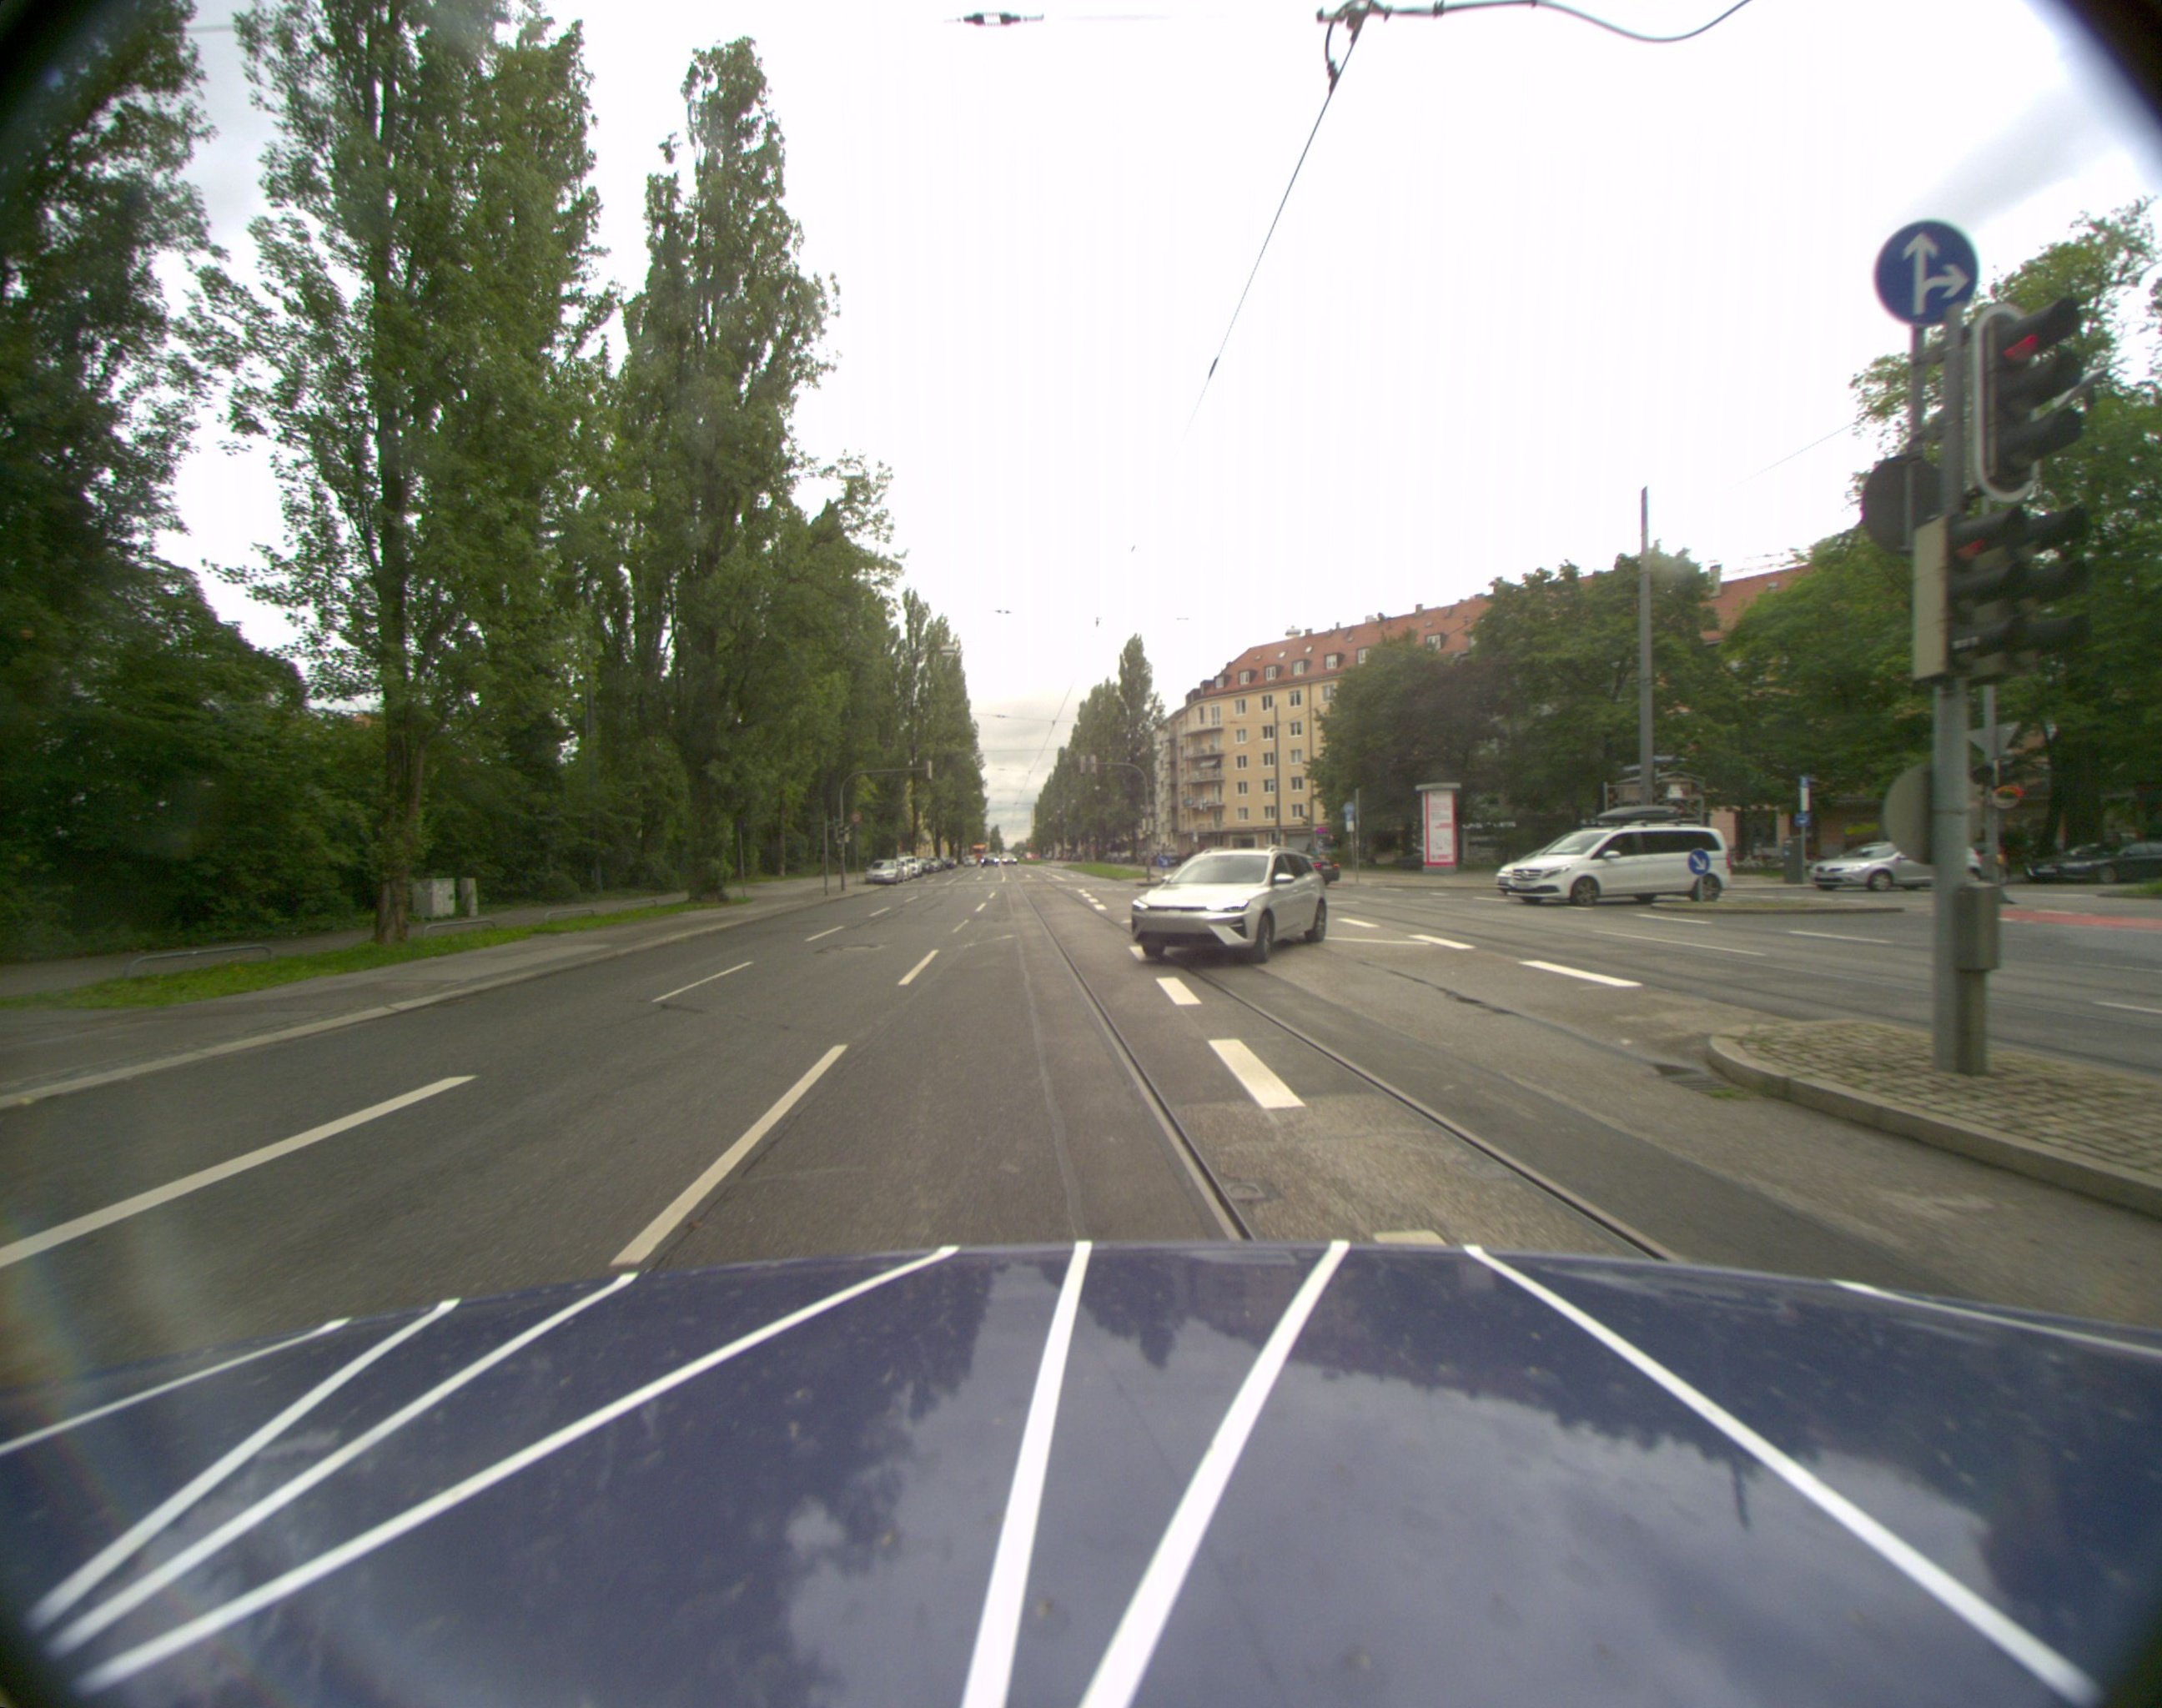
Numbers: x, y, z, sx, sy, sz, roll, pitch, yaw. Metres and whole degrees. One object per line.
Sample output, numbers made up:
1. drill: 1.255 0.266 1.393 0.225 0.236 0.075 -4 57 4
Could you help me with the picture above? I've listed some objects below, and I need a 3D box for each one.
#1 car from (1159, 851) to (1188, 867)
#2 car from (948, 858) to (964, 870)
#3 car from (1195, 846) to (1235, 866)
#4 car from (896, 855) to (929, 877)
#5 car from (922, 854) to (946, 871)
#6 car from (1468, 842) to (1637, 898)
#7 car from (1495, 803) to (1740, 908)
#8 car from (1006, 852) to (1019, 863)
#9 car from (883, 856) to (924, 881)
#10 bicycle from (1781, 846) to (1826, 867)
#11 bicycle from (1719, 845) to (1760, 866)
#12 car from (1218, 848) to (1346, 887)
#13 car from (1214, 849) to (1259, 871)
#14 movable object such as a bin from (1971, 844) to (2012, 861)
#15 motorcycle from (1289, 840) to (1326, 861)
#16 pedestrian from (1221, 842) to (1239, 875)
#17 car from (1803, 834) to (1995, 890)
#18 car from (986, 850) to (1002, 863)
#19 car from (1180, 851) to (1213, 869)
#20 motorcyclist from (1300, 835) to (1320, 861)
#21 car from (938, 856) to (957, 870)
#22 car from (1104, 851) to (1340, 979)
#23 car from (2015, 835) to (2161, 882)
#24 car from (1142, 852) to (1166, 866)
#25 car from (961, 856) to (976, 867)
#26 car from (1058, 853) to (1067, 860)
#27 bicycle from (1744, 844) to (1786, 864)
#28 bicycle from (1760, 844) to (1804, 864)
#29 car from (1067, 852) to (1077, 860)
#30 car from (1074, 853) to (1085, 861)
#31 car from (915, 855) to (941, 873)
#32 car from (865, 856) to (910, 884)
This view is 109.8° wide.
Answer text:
1. car: 8.585 0.430 70.608 1.730 1.399 4.472 -1 1 -5
2. car: -16.783 1.345 102.226 1.786 1.477 4.137 -2 1 -5
3. car: 9.769 0.129 55.643 1.730 1.399 4.372 -1 1 -5
4. car: -12.324 0.870 55.861 1.786 1.477 4.137 -2 1 -5
5. car: -14.195 0.800 73.604 1.786 1.477 4.137 -2 1 -5
6. car: 14.400 0.472 23.318 4.208 1.515 1.775 -2 -1 -8
7. car: 13.087 0.011 18.678 4.944 2.337 1.912 -1 1 -8
8. car: -9.909 0.548 110.156 1.786 1.477 4.137 -2 1 -5
9. car: -11.865 0.923 51.036 1.785 1.477 4.257 -2 1 -2
10. bicycle: 32.949 0.109 34.660 0.314 0.888 1.409 -2 -1 -38
11. bicycle: 29.575 0.088 34.137 0.313 0.888 1.411 -2 -1 -15
12. car: 7.743 0.502 29.751 1.732 1.381 4.785 -2 1 -37
13. car: 10.254 0.358 50.299 1.730 1.399 4.372 -1 1 -5
14. movable object such as a bin: 47.618 -0.075 39.744 0.773 0.867 1.182 -1 1 7
15. motorcycle: 13.278 -0.216 44.616 0.631 1.164 2.023 -10 6 -38
16. pedestrian: 7.582 0.250 38.683 0.550 1.652 0.703 -3 -1 40
17. car: 24.501 0.241 22.841 4.208 1.515 1.775 -2 -1 -7
18. car: -10.465 0.254 91.411 1.786 1.477 4.137 -2 1 -5
19. car: 9.611 0.467 63.467 1.730 1.399 4.372 -1 1 -5
20. motorcyclist: 13.419 -0.350 44.483 0.622 1.434 0.879 -3 1 -38
21. car: -15.865 1.081 90.488 1.786 1.477 4.137 -2 1 -5
22. car: 2.283 0.750 11.281 1.771 1.515 4.217 -2 -1 36
23. car: 34.563 0.126 25.425 4.639 1.452 1.773 -1 1 -3
24. car: 7.566 0.491 79.313 1.730 1.399 4.205 -1 1 -5
25. car: -15.959 1.008 107.739 1.786 1.477 4.137 -2 1 -5
26. car: -4.804 0.578 197.295 2.000 1.695 3.998 -2 -1 -7
27. bicycle: 31.037 0.013 34.488 0.313 0.888 1.409 -2 0 -27
28. bicycle: 31.802 0.005 34.504 0.314 0.888 1.409 -2 -1 -38
29. car: -1.955 0.479 166.327 1.818 1.707 3.998 -2 -1 -7
30. car: -0.276 0.542 155.603 1.818 1.461 3.998 -2 -1 -7
31. car: -13.329 0.838 66.356 1.786 1.477 4.137 -2 1 -5
32. car: -11.405 0.927 45.142 1.786 1.477 4.350 -2 1 -4
